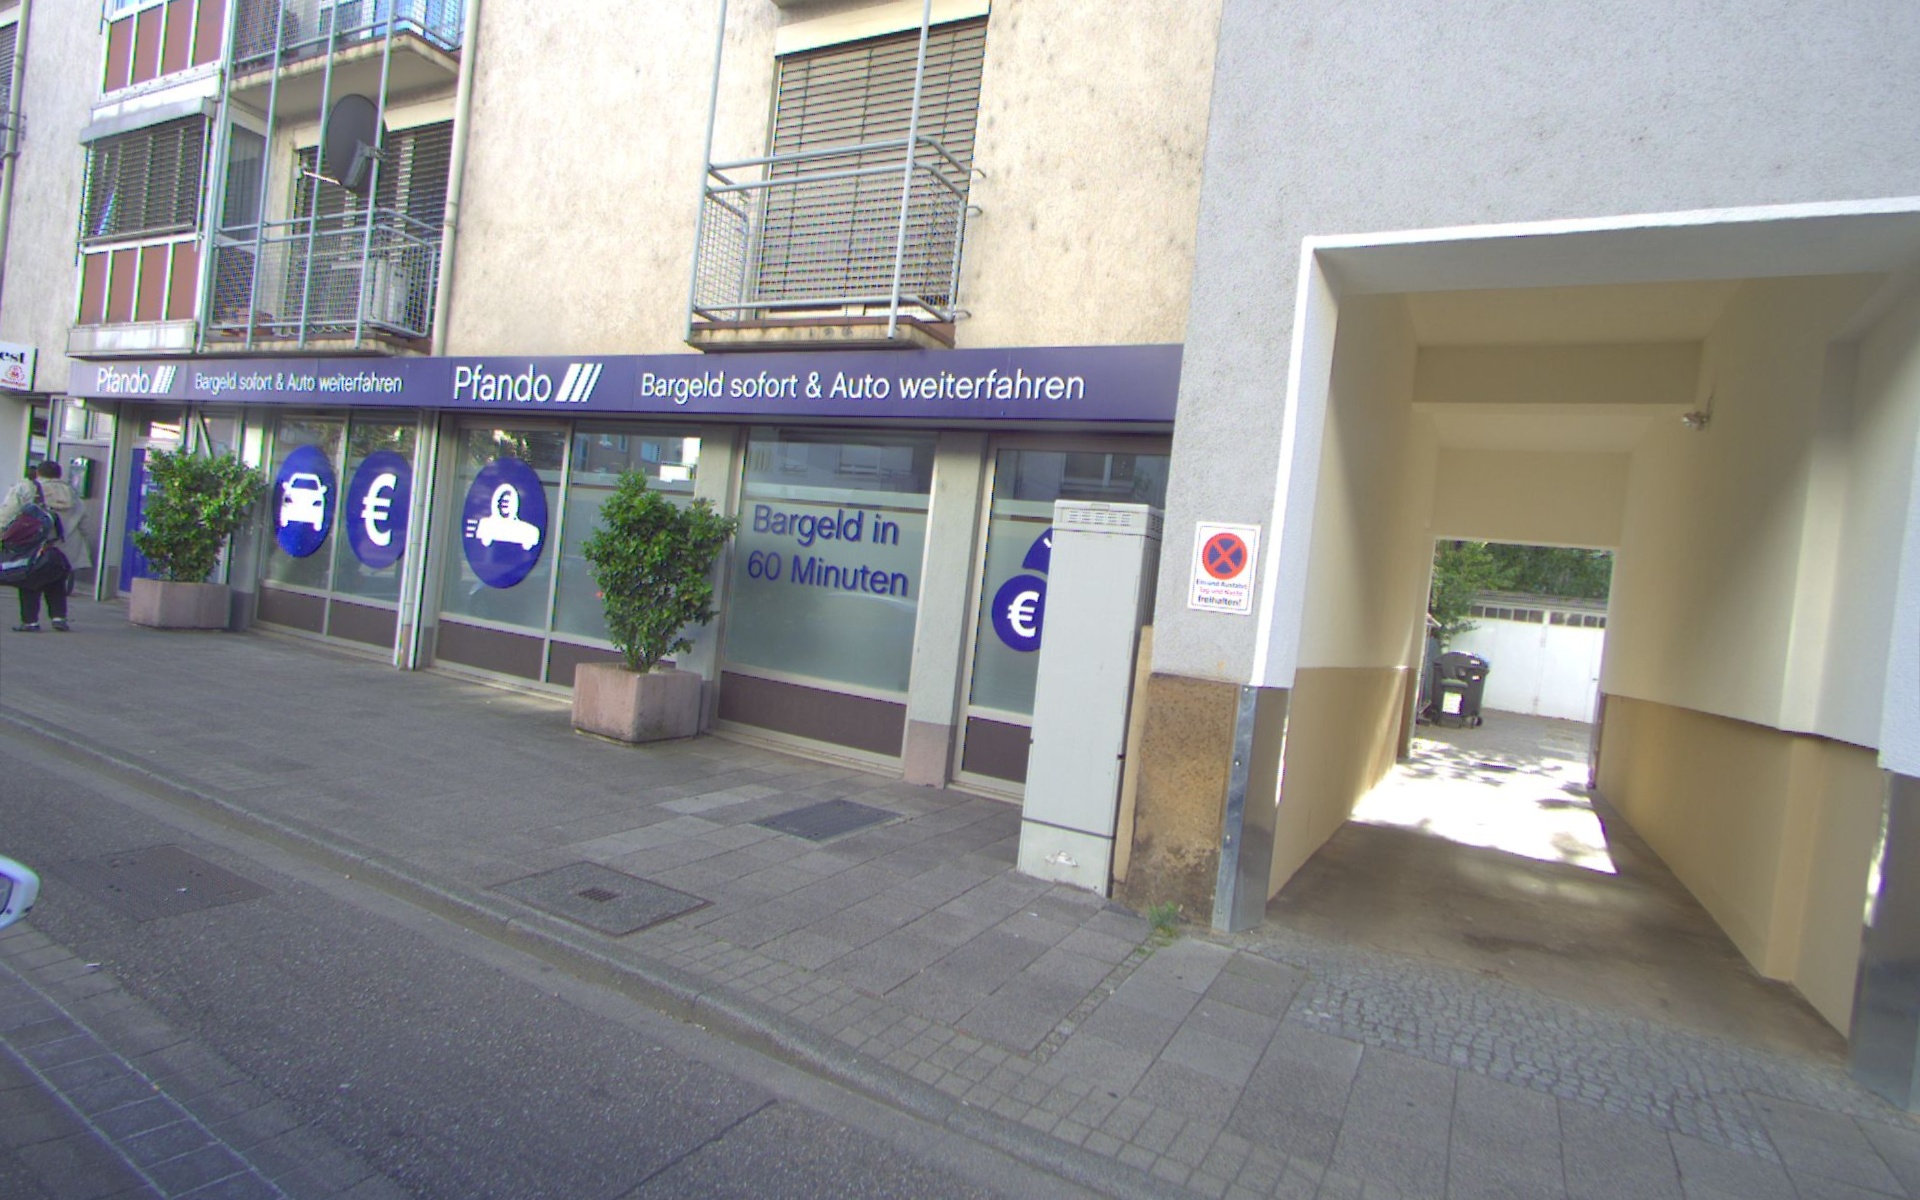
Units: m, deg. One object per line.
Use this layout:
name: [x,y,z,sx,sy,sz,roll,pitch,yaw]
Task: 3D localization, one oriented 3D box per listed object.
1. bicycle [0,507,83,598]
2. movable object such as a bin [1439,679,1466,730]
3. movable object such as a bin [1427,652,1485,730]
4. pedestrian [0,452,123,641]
bicycle: [-11.910,-0.636,12.826,1.678,1.010,0.543,6,-1,32]
movable object such as a bin: [9.503,2.007,19.391,0.365,0.920,0.420,7,2,28]
movable object such as a bin: [9.857,1.784,19.977,0.873,1.411,0.758,7,2,28]
pedestrian: [-8.572,-0.488,9.385,0.738,1.611,0.827,6,-1,31]
